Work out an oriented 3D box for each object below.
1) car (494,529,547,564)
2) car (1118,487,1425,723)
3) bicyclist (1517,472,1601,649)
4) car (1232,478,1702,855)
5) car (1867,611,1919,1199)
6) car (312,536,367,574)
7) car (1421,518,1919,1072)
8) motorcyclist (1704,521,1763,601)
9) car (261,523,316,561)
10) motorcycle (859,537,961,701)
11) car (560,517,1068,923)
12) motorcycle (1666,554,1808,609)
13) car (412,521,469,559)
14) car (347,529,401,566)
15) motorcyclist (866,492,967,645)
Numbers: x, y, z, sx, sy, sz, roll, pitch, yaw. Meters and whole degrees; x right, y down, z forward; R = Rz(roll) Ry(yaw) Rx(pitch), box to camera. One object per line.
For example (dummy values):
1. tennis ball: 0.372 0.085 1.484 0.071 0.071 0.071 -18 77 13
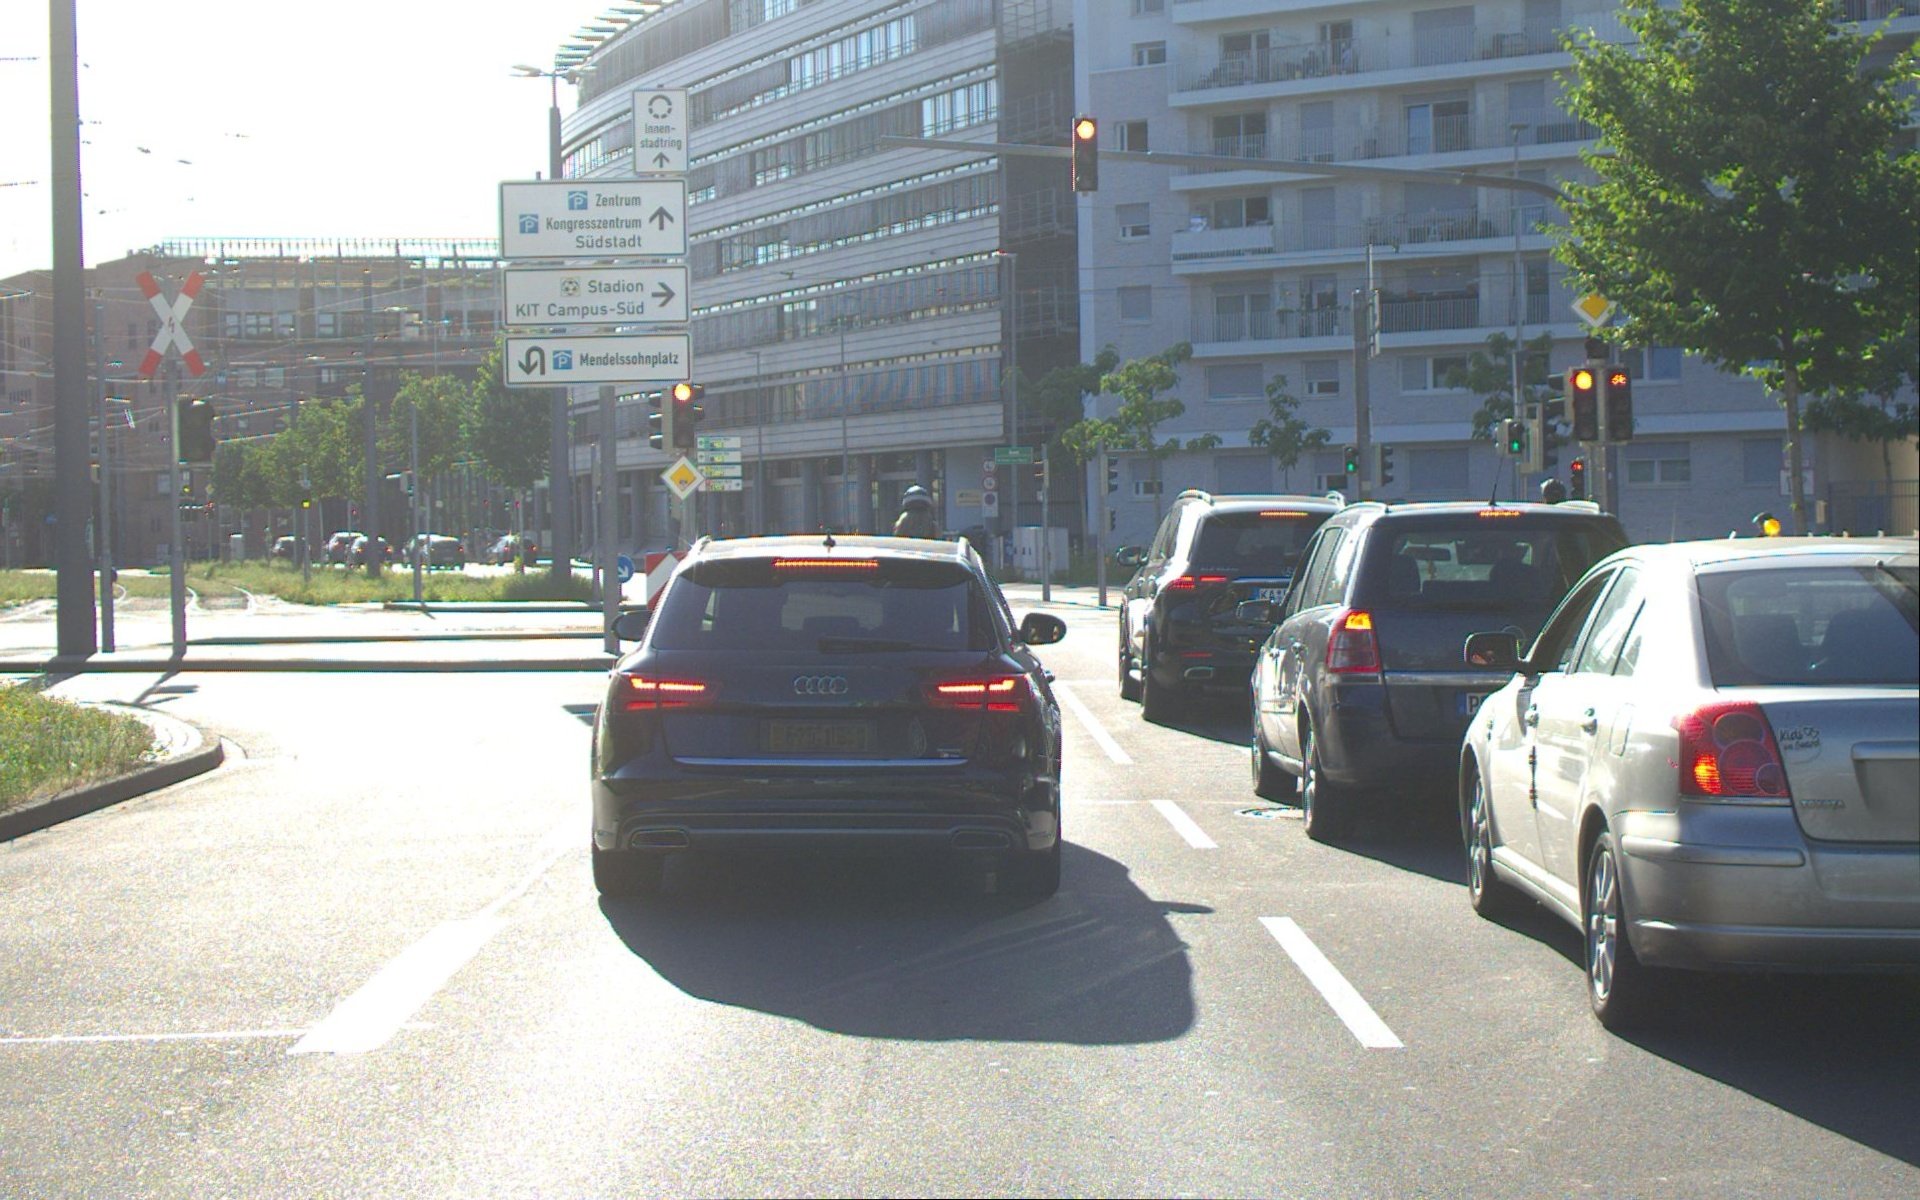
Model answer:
1. car: -21.365 -2.608 167.058 1.993 1.590 4.001 -2 1 -15
2. car: 2.404 -0.022 27.638 2.003 1.709 4.373 1 2 -1
3. bicyclist: 5.618 -0.378 32.279 0.654 1.637 0.972 0 2 3
4. car: 2.467 0.263 17.704 1.746 1.690 4.261 1 1 0
5. car: 2.491 0.760 4.162 1.746 1.387 4.264 0 1 1
6. car: -29.404 -2.111 162.787 1.993 1.700 4.001 -2 1 -18
7. car: 2.718 0.477 11.506 1.746 1.476 4.628 -1 1 0
8. motorcyclist: 14.518 -0.736 64.557 0.925 1.476 1.171 -1 1 5
9. car: -31.706 -2.716 162.241 1.993 1.700 4.001 -2 1 -18
10. motorcycle: -0.431 0.148 30.279 0.862 1.388 1.894 -1 1 0
11. car: -0.565 0.396 14.629 1.842 1.449 4.000 1 2 -1
12. motorcycle: 14.571 -0.353 64.567 2.453 0.997 1.171 -1 1 5
13. car: -23.357 -2.673 154.524 1.993 1.590 4.001 -2 1 -16
14. car: -26.761 -2.400 156.833 1.993 1.590 4.001 -2 1 -15
15. motorcyclist: -0.380 -0.281 30.139 0.862 1.322 0.681 -1 1 0
